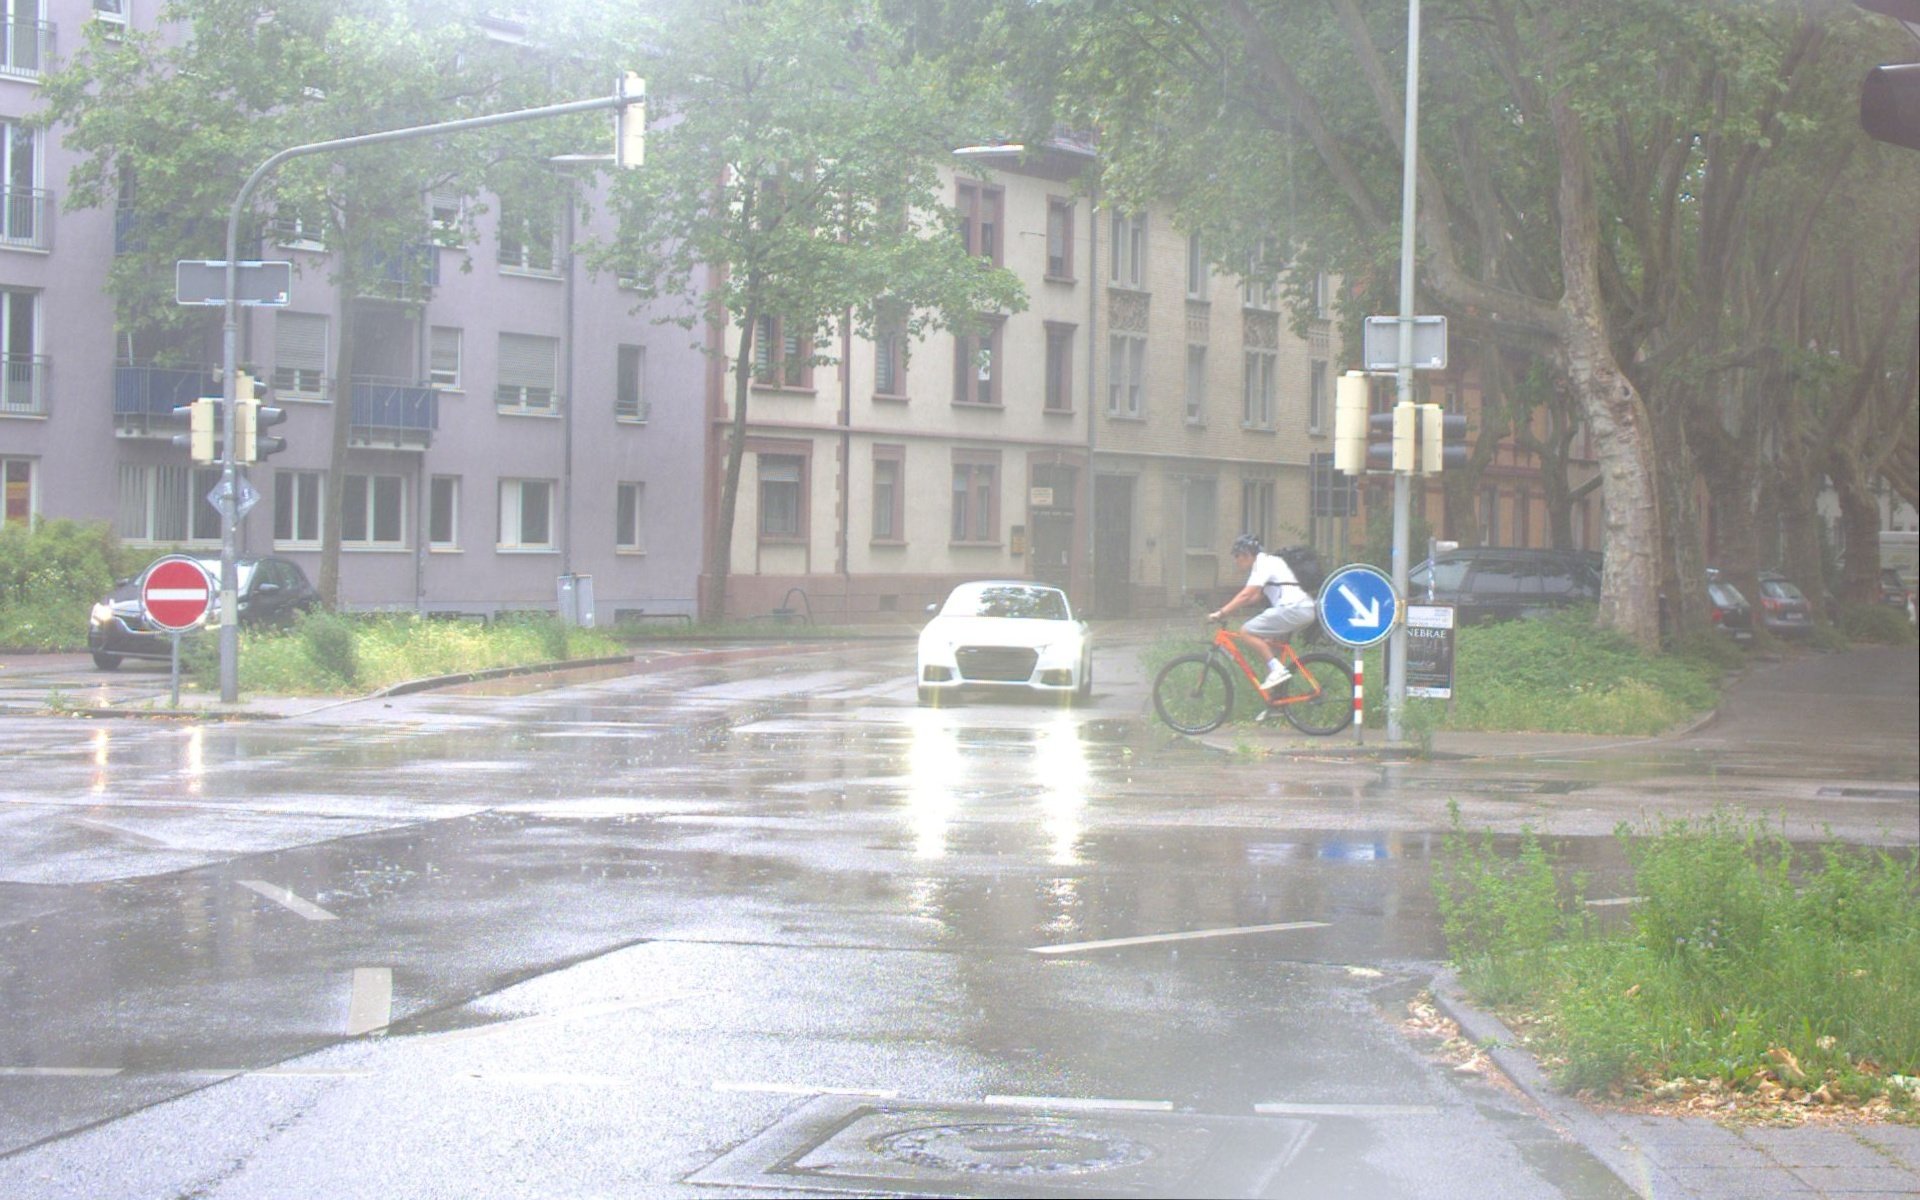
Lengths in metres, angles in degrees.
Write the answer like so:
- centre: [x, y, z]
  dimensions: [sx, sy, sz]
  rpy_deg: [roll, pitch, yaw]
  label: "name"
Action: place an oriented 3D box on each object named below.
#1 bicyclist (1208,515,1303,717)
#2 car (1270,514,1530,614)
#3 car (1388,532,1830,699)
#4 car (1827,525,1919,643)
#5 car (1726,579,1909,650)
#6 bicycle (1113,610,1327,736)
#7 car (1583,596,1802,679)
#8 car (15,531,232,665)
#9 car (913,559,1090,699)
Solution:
- centre: [2.665, 0.137, 30.930]
  dimensions: [0.795, 1.780, 0.697]
  rpy_deg: [1, 0, 8]
  label: "bicyclist"
- centre: [6.886, -0.565, 53.665]
  dimensions: [3.868, 1.481, 1.715]
  rpy_deg: [1, 0, 12]
  label: "car"
- centre: [6.175, 0.128, 32.714]
  dimensions: [3.989, 1.481, 1.999]
  rpy_deg: [1, 1, 12]
  label: "car"
- centre: [24.400, -0.409, 87.726]
  dimensions: [2.033, 2.938, 4.773]
  rpy_deg: [1, 1, -21]
  label: "car"
- centre: [19.580, 0.313, 78.664]
  dimensions: [3.989, 1.542, 1.999]
  rpy_deg: [1, 1, 12]
  label: "car"
- centre: [2.345, 0.649, 30.975]
  dimensions: [1.873, 1.077, 0.657]
  rpy_deg: [1, 0, 8]
  label: "bicycle"
- centre: [13.940, 0.700, 65.443]
  dimensions: [3.989, 1.481, 1.999]
  rpy_deg: [1, 1, 12]
  label: "car"
- centre: [-10.039, -0.057, 41.507]
  dimensions: [1.751, 1.506, 3.839]
  rpy_deg: [1, 1, -2]
  label: "car"
- centre: [0.500, 0.291, 39.072]
  dimensions: [1.884, 1.431, 4.000]
  rpy_deg: [1, 1, 1]
  label: "car"
